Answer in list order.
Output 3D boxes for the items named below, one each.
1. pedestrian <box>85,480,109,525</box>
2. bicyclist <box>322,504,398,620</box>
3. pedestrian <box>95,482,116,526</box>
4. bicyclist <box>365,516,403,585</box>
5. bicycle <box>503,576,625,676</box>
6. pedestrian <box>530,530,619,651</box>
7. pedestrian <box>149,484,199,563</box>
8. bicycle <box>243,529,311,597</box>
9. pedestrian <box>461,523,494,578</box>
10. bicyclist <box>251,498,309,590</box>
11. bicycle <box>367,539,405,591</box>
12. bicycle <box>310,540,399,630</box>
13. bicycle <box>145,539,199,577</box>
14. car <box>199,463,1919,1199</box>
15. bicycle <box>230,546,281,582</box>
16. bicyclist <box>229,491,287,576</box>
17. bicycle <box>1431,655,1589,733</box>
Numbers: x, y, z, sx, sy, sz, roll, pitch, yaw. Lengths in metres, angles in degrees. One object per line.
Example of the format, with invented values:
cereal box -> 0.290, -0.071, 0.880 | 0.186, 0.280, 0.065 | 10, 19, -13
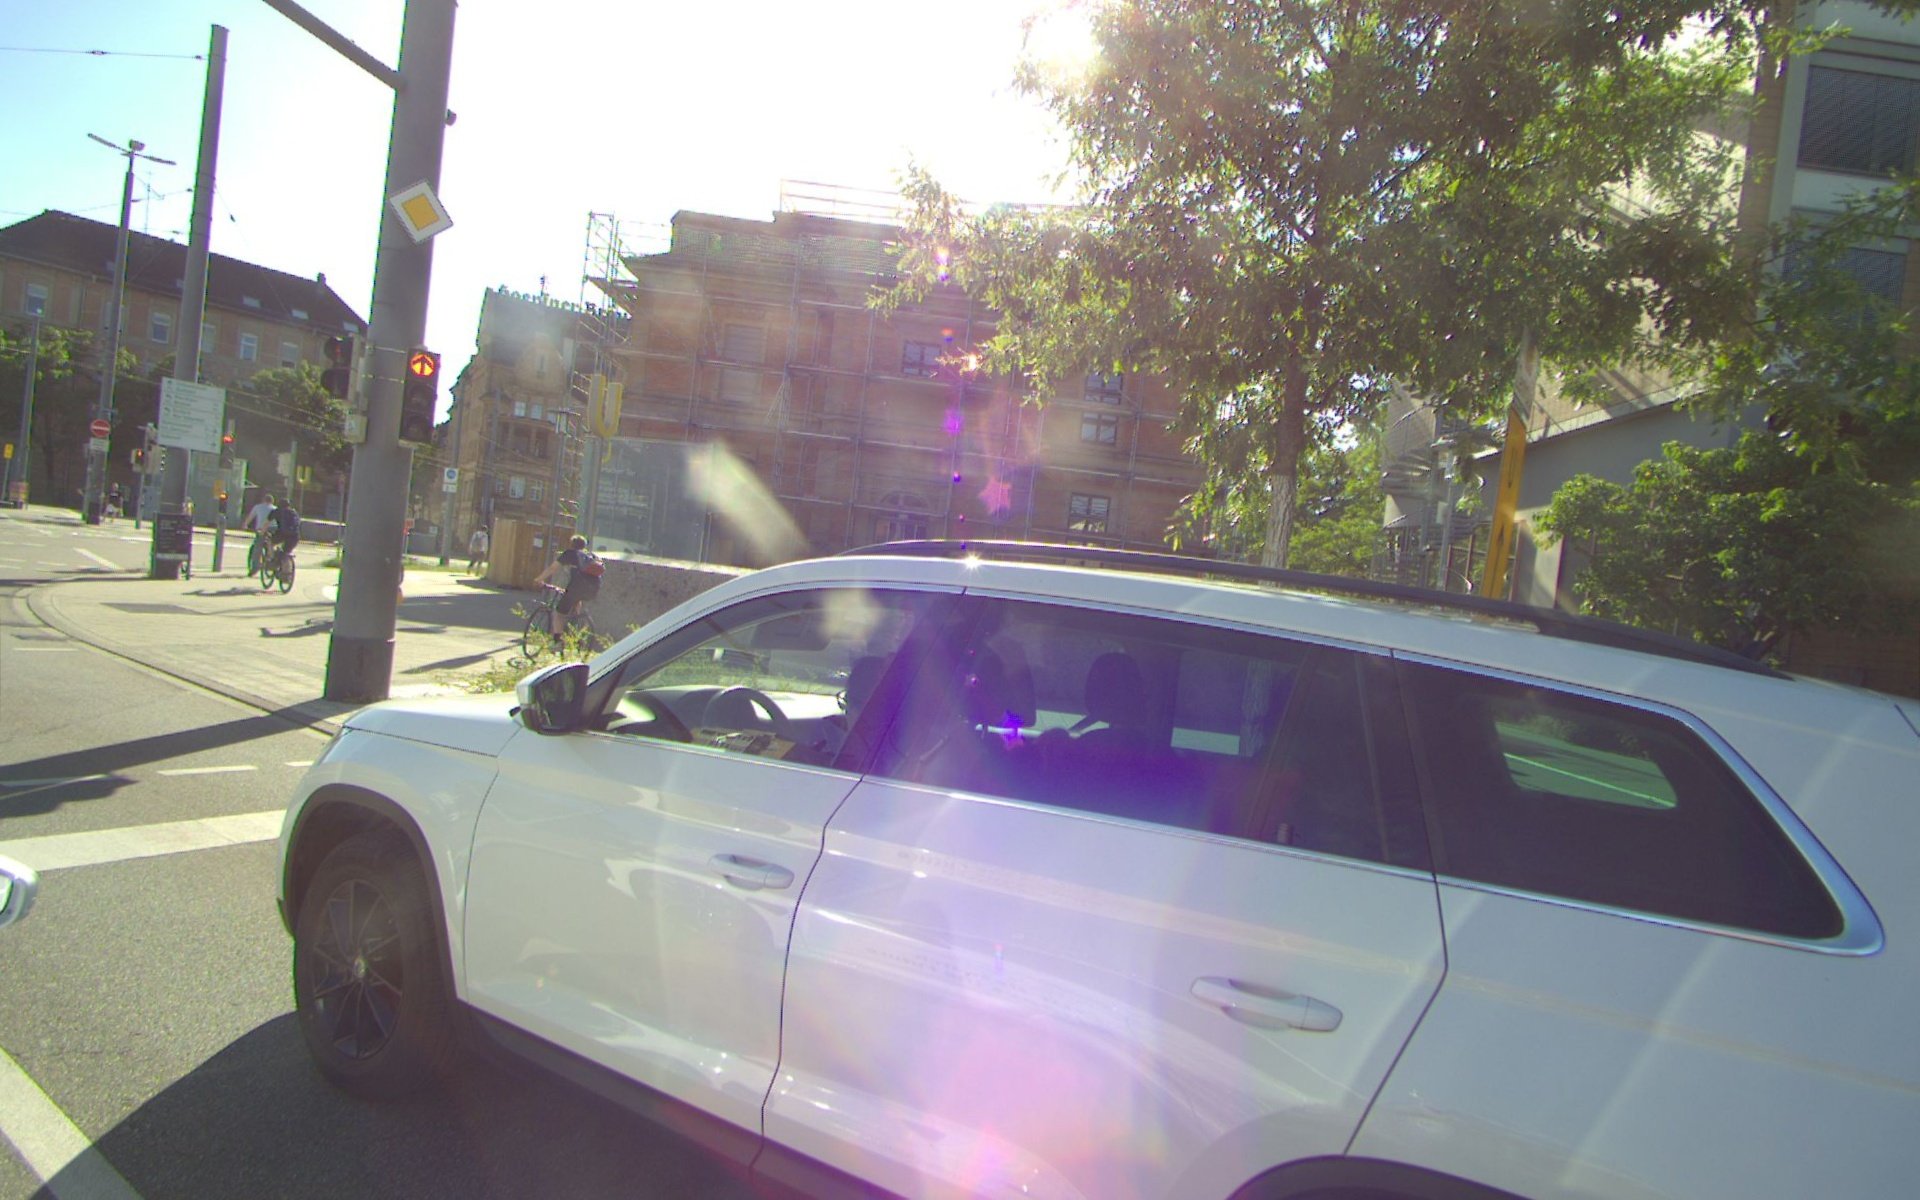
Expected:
pedestrian -> -41.151, -4.665, 47.959 | 0.443, 2.039, 0.574 | 7, 1, 14
bicyclist -> -8.976, -0.568, 15.041 | 0.682, 1.620, 0.965 | 3, 3, -45
pedestrian -> -41.380, -4.669, 48.736 | 0.443, 2.039, 0.462 | 7, 2, 14
bicyclist -> -13.945, -1.199, 24.359 | 0.568, 1.588, 0.937 | 6, 1, -37
bicycle -> -5.058, 0.311, 12.809 | 1.740, 1.059, 0.515 | 7, 3, 35
pedestrian -> -4.854, -0.120, 12.650 | 0.946, 1.421, 0.515 | 7, 3, 35
pedestrian -> -16.995, -1.657, 21.751 | 0.845, 1.582, 0.548 | 7, 1, 38
bicycle -> -13.071, -0.719, 19.231 | 1.825, 1.129, 0.624 | 7, 3, 42
pedestrian -> -17.564, -1.792, 36.641 | 0.887, 1.883, 0.922 | 6, 1, -23
bicyclist -> -12.930, -1.067, 19.112 | 0.981, 1.660, 0.624 | 7, 4, 42
bicycle -> -13.941, -0.862, 24.412 | 0.568, 1.139, 1.723 | 6, 1, -35
bicycle -> -9.172, -0.238, 15.210 | 0.682, 1.179, 1.859 | 4, 3, -44
bicycle -> -17.120, -0.917, 21.841 | 1.700, 0.664, 0.536 | 7, 3, 39
car -> 0.030, 0.697, 2.678 | 4.224, 1.662, 1.697 | 7, 0, 30
bicycle -> -16.068, -0.834, 22.938 | 1.446, 0.664, 0.536 | 7, 2, 39
bicyclist -> -15.925, -1.507, 22.825 | 0.910, 1.802, 0.746 | 8, 2, 39
bicycle -> 13.072, 2.216, 23.994 | 3.079, 1.395, 0.798 | 7, 1, 8
